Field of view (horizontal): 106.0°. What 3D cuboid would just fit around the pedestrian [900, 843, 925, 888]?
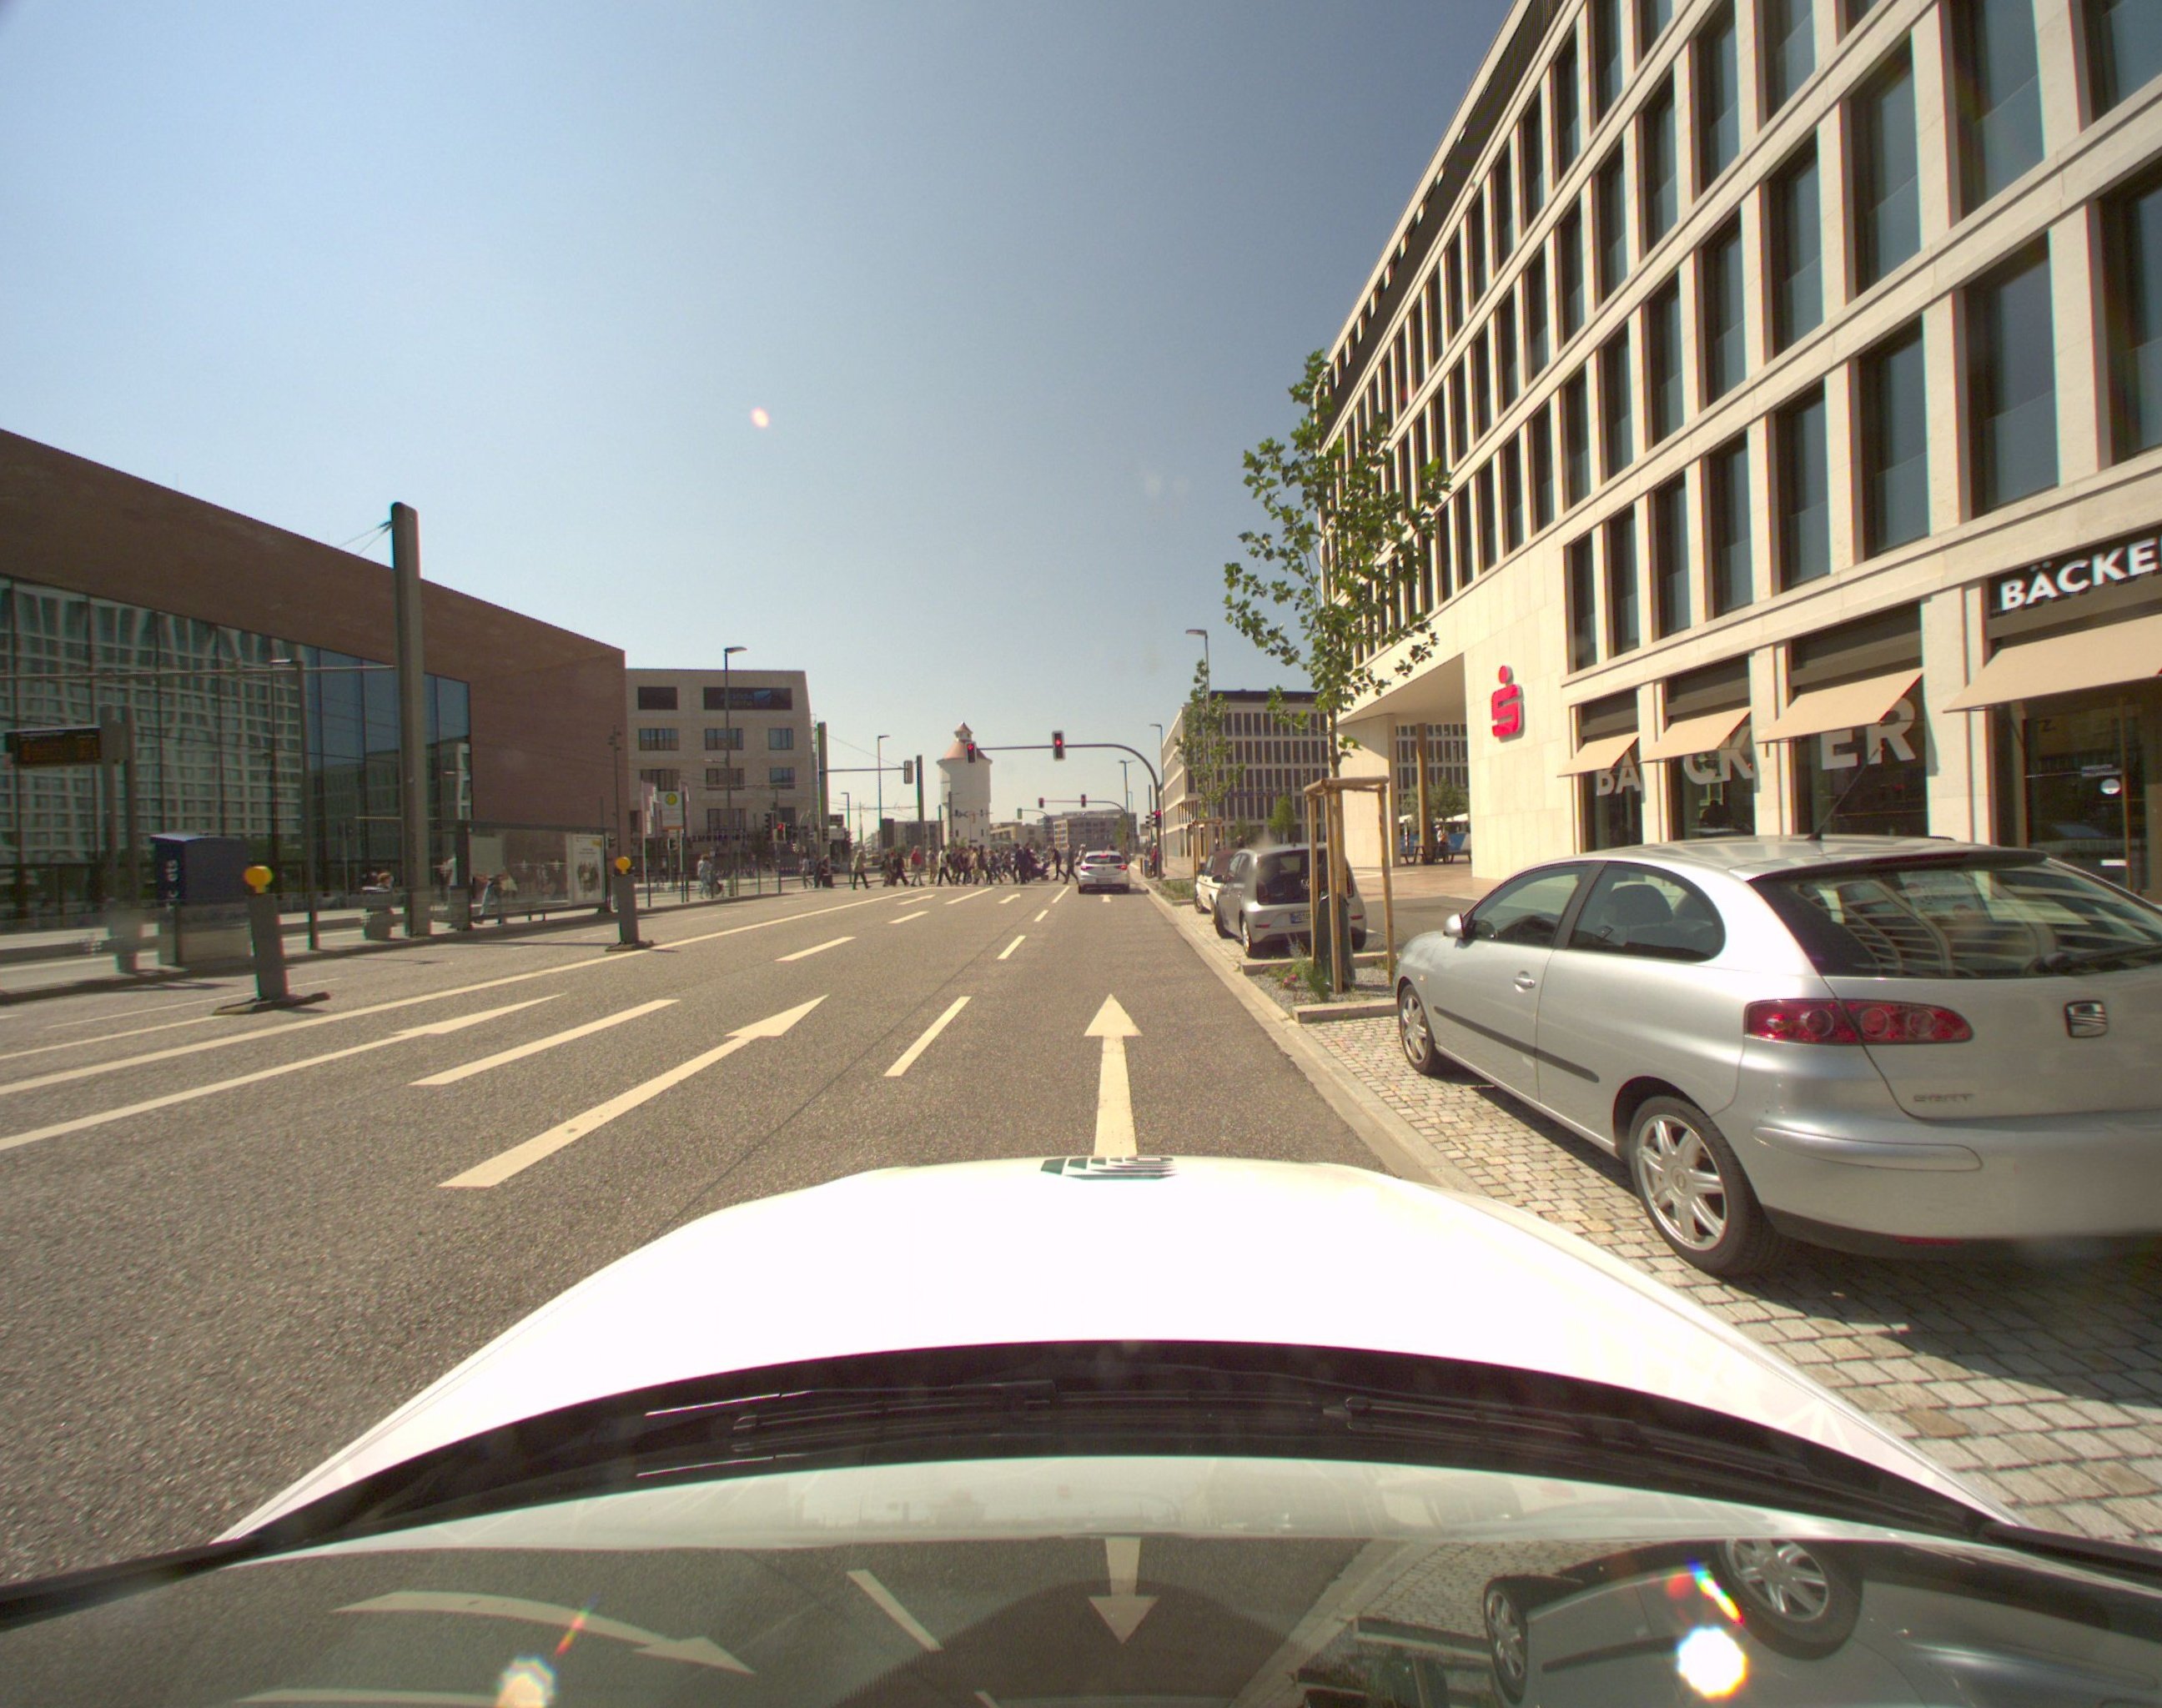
[{"bbox_3d":[-7.346,0.488,35.571,0.886,1.890,0.691,-2,0,-4],"label":"pedestrian"}]

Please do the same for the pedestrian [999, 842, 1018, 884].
[{"bbox_3d":[-3.412,0.419,38.352,0.763,1.890,0.692,-2,0,2],"label":"pedestrian"}]

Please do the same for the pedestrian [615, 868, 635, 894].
[{"bbox_3d":[-28.626,1.713,51.141,0.708,1.571,0.891,-2,0,1],"label":"pedestrian"}]

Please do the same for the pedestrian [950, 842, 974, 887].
[{"bbox_3d":[-5.029,0.438,34.573,0.886,1.890,0.691,-2,0,-4],"label":"pedestrian"}]

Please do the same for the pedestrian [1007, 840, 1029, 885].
[{"bbox_3d":[-2.733,0.365,35.482,0.886,1.890,0.795,-2,0,-3],"label":"pedestrian"}]

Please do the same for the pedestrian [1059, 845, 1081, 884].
[{"bbox_3d":[-0.477,0.456,35.532,0.886,1.635,0.691,-2,0,-4],"label":"pedestrian"}]

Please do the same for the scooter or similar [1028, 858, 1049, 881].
[{"bbox_3d":[-2.142,0.778,40.628,0.950,1.118,0.765,-2,0,-8],"label":"scooter or similar"}]

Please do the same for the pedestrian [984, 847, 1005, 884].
[{"bbox_3d":[-3.935,0.522,37.113,0.790,1.647,0.891,-2,0,4],"label":"pedestrian"}]

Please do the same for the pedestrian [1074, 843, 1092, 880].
[{"bbox_3d":[0.117,0.362,38.942,0.763,1.734,0.692,-2,0,2],"label":"pedestrian"}]

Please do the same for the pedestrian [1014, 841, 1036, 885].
[{"bbox_3d":[-2.491,0.399,36.311,0.886,1.890,0.795,-2,0,-3],"label":"pedestrian"}]

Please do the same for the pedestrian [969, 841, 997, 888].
[{"bbox_3d":[-4.074,0.426,33.879,1.010,1.890,0.798,-2,0,-1],"label":"pedestrian"}]

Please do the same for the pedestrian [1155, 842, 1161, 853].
[{"bbox_3d":[12.208,-1.030,128.990,0.791,1.647,0.891,-2,0,1],"label":"pedestrian"}]

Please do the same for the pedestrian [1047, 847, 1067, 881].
[{"bbox_3d":[-1.211,0.482,40.819,0.887,1.647,0.794,-2,0,-8],"label":"pedestrian"}]

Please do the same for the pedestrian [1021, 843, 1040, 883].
[{"bbox_3d":[-2.403,0.412,39.005,0.763,1.890,0.692,-2,0,2],"label":"pedestrian"}]

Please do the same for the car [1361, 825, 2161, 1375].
[{"bbox_3d":[2.835,0.638,4.065,1.599,1.387,3.816,-3,0,2],"label":"car"}]

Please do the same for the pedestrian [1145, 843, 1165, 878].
[{"bbox_3d":[3.568,0.328,39.364,0.883,1.647,0.798,-2,0,5],"label":"pedestrian"}]

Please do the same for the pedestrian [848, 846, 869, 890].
[{"bbox_3d":[-9.691,0.611,35.490,0.634,1.890,0.797,-2,0,3],"label":"pedestrian"}]

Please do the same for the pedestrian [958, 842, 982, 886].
[{"bbox_3d":[-4.856,0.432,35.649,0.886,1.890,0.691,-2,0,-4],"label":"pedestrian"}]

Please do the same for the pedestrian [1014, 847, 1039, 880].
[{"bbox_3d":[-3.130,0.531,46.721,1.175,1.820,1.070,-2,0,5],"label":"pedestrian"}]

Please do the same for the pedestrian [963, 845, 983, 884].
[{"bbox_3d":[-4.998,0.487,37.615,0.763,1.734,0.692,-2,0,2],"label":"pedestrian"}]

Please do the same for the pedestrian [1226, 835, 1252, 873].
[{"bbox_3d":[7.076,-0.015,36.532,0.986,1.655,0.692,-2,0,3],"label":"pedestrian"}]

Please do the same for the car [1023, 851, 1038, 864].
[{"bbox_3d":[-6.317,0.454,102.582,1.581,1.530,3.693,-1,-1,1],"label":"car"}]

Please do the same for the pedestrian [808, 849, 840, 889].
[{"bbox_3d":[-12.752,0.752,40.435,1.164,1.890,1.061,-2,2,3],"label":"pedestrian"}]

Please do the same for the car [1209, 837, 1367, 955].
[{"bbox_3d":[2.938,0.540,12.247,1.550,1.472,3.471,-2,0,2],"label":"car"}]

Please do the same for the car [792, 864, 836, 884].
[{"bbox_3d":[-26.558,1.980,81.170,3.942,1.816,1.792,-1,-1,-11],"label":"car"}]

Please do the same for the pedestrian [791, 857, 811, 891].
[{"bbox_3d":[-14.264,1.009,41.506,0.895,1.674,1.007,-2,0,-17],"label":"pedestrian"}]

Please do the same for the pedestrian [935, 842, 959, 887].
[{"bbox_3d":[-5.801,0.458,35.197,0.886,1.890,0.691,-2,0,-4],"label":"pedestrian"}]

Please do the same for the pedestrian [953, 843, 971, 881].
[{"bbox_3d":[-5.882,0.402,40.325,0.730,1.890,0.715,0,0,6],"label":"pedestrian"}]

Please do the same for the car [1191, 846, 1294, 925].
[{"bbox_3d":[3.222,0.566,16.916,1.424,1.390,4.002,-2,0,2],"label":"car"}]

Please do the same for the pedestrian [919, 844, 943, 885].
[{"bbox_3d":[-7.058,0.495,38.379,0.883,1.890,0.798,-2,0,6],"label":"pedestrian"}]

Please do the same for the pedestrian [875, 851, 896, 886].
[{"bbox_3d":[-9.064,0.679,37.735,0.724,1.576,0.642,-2,0,6],"label":"pedestrian"}]

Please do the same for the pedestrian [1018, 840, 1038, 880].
[{"bbox_3d":[-2.588,0.279,39.797,0.837,1.890,0.692,-2,0,2],"label":"pedestrian"}]

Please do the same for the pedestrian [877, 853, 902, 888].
[{"bbox_3d":[-9.301,0.791,39.662,0.906,1.637,0.815,-2,0,6],"label":"pedestrian"}]

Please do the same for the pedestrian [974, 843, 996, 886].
[{"bbox_3d":[-4.269,0.448,36.339,0.726,1.890,0.822,-2,0,7],"label":"pedestrian"}]

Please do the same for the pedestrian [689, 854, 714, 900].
[{"bbox_3d":[-13.672,0.804,29.351,0.502,1.622,0.650,-2,0,1],"label":"pedestrian"}]

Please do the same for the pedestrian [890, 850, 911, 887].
[{"bbox_3d":[-8.081,0.658,36.486,0.630,1.618,0.770,-2,0,7],"label":"pedestrian"}]

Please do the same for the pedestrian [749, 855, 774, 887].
[{"bbox_3d":[-19.703,1.057,50.232,0.880,1.890,0.989,-2,0,22],"label":"pedestrian"}]

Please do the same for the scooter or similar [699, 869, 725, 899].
[{"bbox_3d":[-13.636,1.097,30.103,0.502,1.059,0.834,-2,0,2],"label":"scooter or similar"}]

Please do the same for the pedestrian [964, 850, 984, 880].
[{"bbox_3d":[-6.043,0.591,46.022,0.883,1.647,0.798,-2,0,5],"label":"pedestrian"}]

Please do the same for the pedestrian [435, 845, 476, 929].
[{"bbox_3d":[-13.969,0.722,18.201,0.551,1.820,0.596,0,0,-20],"label":"pedestrian"}]

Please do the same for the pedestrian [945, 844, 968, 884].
[{"bbox_3d":[-5.966,0.472,38.938,0.884,1.890,0.797,-2,0,1],"label":"pedestrian"}]

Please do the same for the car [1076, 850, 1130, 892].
[{"bbox_3d":[0.846,0.586,28.961,1.764,1.395,3.535,0,-1,4],"label":"car"}]

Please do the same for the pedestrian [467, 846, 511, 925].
[{"bbox_3d":[-13.949,0.720,19.195,0.665,1.820,0.718,0,0,-21],"label":"pedestrian"}]

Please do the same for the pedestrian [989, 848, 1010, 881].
[{"bbox_3d":[-4.161,0.536,41.529,0.883,1.647,0.798,-2,0,5],"label":"pedestrian"}]

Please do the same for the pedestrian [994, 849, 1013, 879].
[{"bbox_3d":[-4.278,0.537,45.014,0.883,1.647,0.798,-2,0,5],"label":"pedestrian"}]

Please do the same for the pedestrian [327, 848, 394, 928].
[{"bbox_3d":[-16.773,0.780,18.981,0.808,1.820,0.825,0,0,2],"label":"pedestrian"}]

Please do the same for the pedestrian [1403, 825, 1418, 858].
[{"bbox_3d":[20.408,-0.802,50.500,0.641,2.013,0.622,-2,0,1],"label":"pedestrian"}]

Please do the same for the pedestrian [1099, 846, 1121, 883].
[{"bbox_3d":[1.285,0.454,35.983,0.760,1.620,0.695,-2,0,18],"label":"pedestrian"}]

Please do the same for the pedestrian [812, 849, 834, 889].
[{"bbox_3d":[-13.277,0.758,41.964,1.022,2.013,0.949,-2,0,-17],"label":"pedestrian"}]
